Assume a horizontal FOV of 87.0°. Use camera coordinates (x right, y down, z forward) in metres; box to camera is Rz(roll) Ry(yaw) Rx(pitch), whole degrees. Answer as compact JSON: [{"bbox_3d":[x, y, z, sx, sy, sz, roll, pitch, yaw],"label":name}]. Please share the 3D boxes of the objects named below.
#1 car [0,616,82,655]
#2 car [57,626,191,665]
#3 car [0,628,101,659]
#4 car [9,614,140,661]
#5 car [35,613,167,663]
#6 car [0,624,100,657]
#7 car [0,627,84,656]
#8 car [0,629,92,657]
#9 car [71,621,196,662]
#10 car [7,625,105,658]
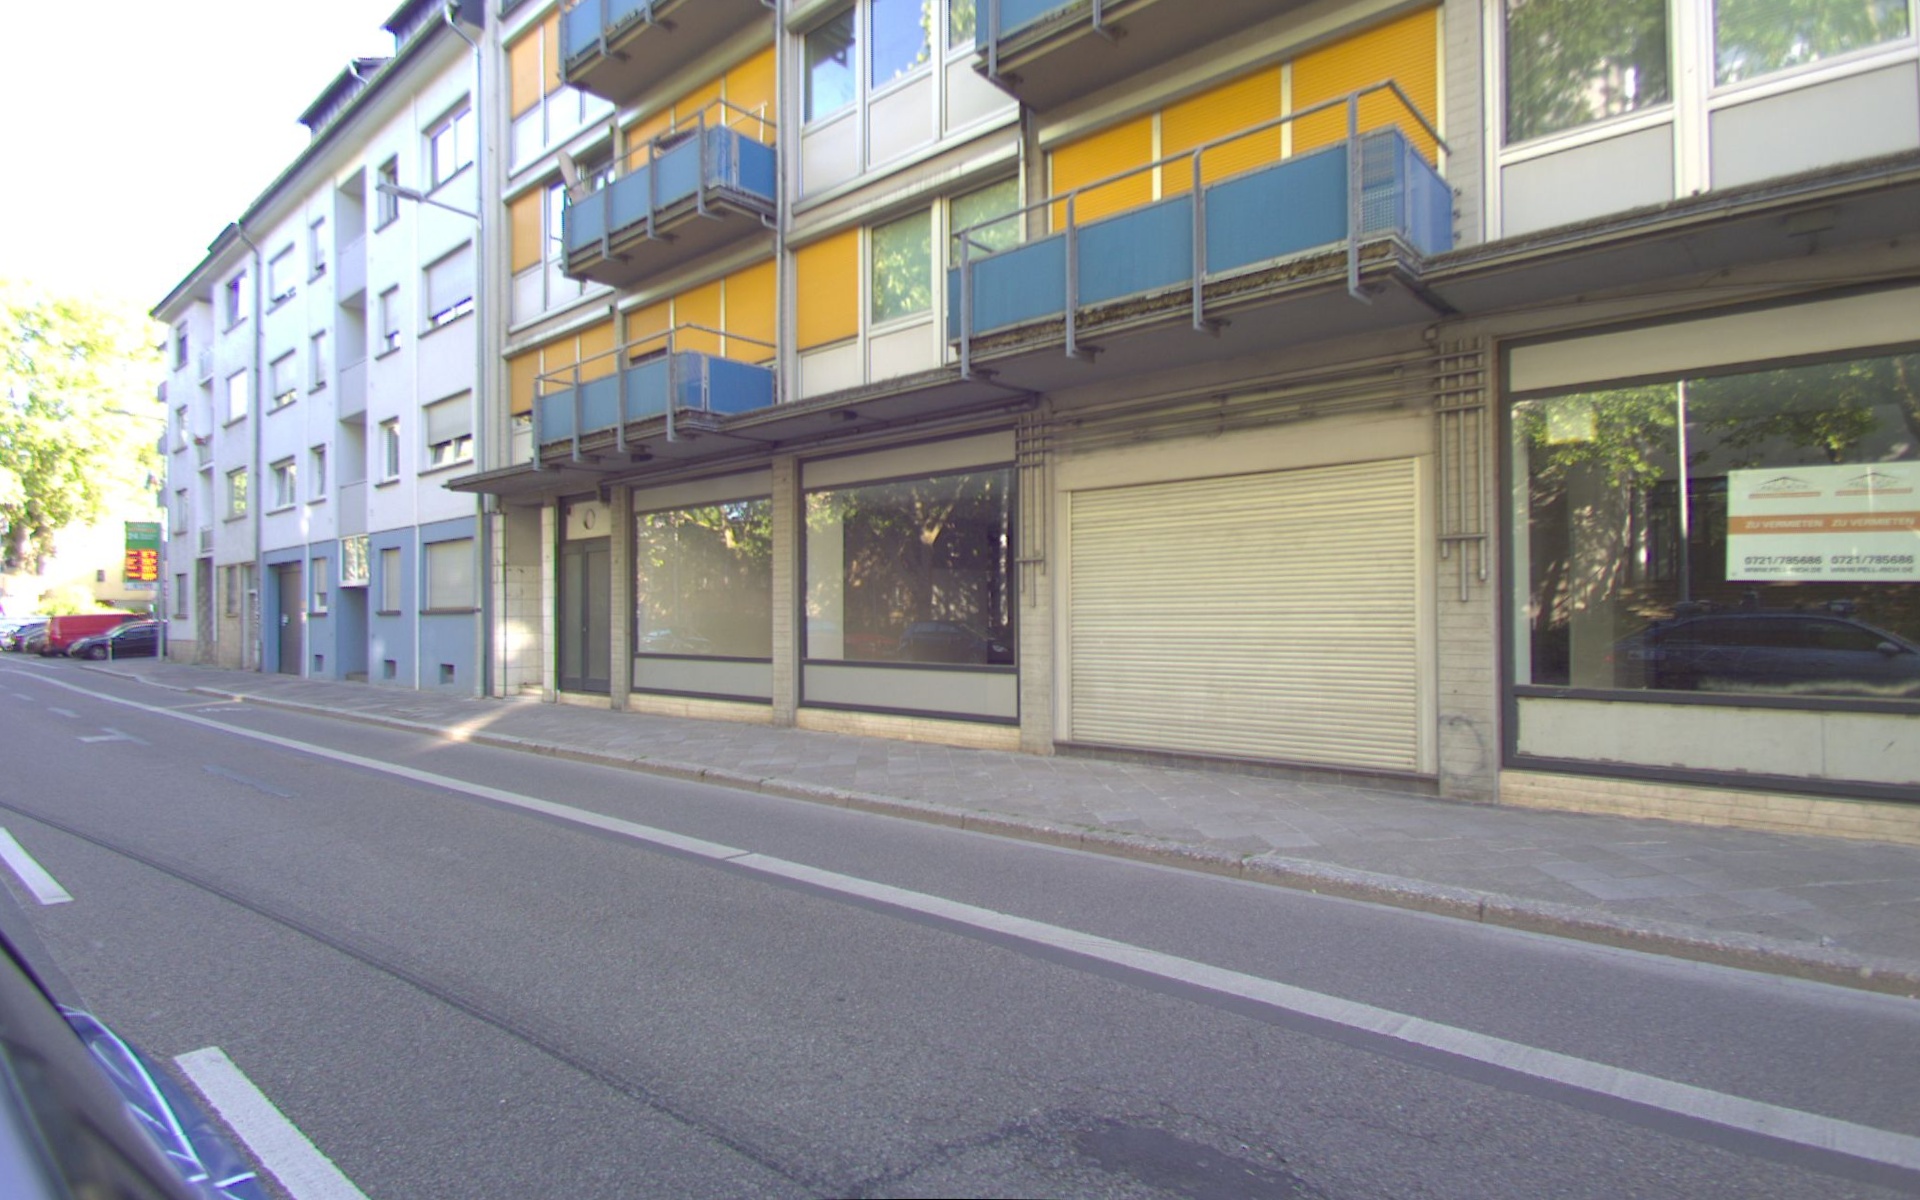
[{"bbox_3d":[-58.831,2.246,63.913,2.139,2.233,4.794,-2,0,41],"label":"car"},{"bbox_3d":[-36.057,1.910,43.734,2.045,1.390,4.184,-1,1,41],"label":"car"},{"bbox_3d":[-49.352,2.323,54.888,1.915,1.467,3.945,-2,0,41],"label":"car"},{"bbox_3d":[-42.392,1.758,48.512,2.056,1.966,4.475,-2,1,41],"label":"car"},{"bbox_3d":[-39.984,1.727,47.176,2.145,1.966,4.375,-2,1,41],"label":"car"},{"bbox_3d":[-51.895,2.282,57.658,2.027,1.696,4.150,-2,0,41],"label":"car"},{"bbox_3d":[-55.443,2.465,60.848,1.852,1.571,3.945,-2,-1,41],"label":"car"},{"bbox_3d":[-53.797,2.505,59.500,1.852,1.444,3.945,-2,0,41],"label":"car"},{"bbox_3d":[-37.344,1.843,45.791,1.886,1.575,4.129,-2,1,41],"label":"car"},{"bbox_3d":[-47.698,2.159,53.466,1.830,1.524,3.647,-2,1,41],"label":"car"}]
